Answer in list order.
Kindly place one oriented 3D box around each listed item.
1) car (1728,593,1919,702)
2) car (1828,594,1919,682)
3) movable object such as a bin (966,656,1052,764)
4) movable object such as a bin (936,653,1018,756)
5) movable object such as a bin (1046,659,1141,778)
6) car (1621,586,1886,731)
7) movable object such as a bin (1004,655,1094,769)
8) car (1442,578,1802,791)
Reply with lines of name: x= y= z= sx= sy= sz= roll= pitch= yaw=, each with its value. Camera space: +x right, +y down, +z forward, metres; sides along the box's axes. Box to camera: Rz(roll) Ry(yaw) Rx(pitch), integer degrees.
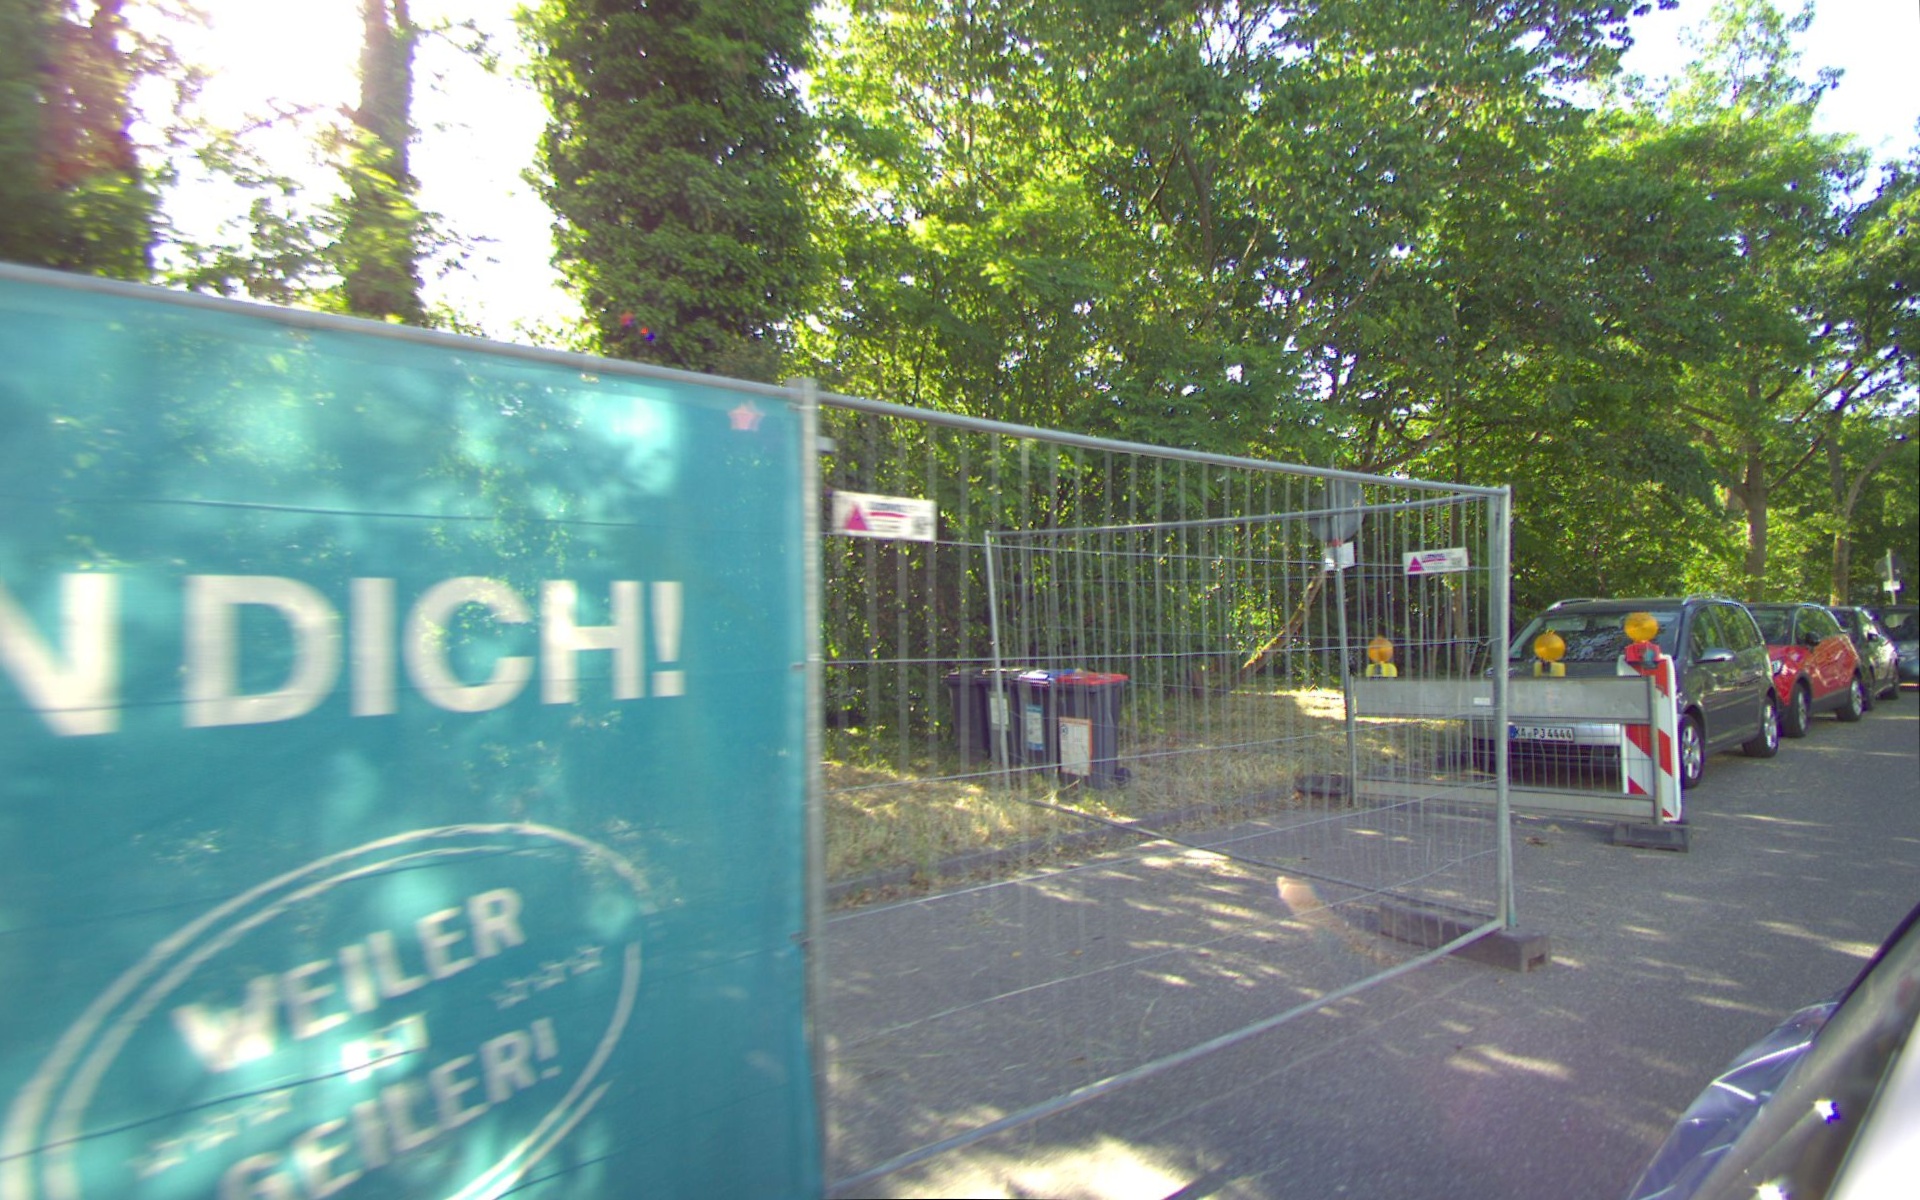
car: x=13.923 y=0.699 z=16.237 sx=4.077 sy=1.529 sz=1.714 roll=0 pitch=-2 yaw=-41
car: x=17.478 y=0.663 z=18.753 sx=2.626 sy=1.529 sz=1.498 roll=0 pitch=-2 yaw=-36
movable object such as a bin: x=0.427 y=0.937 z=8.809 sx=0.550 sy=0.872 sz=0.484 roll=0 pitch=-2 yaw=-41
movable object such as a bin: x=0.157 y=0.934 z=9.228 sx=0.550 sy=0.872 sz=0.484 roll=0 pitch=-2 yaw=-41
movable object such as a bin: x=1.062 y=0.918 z=8.054 sx=0.550 sy=0.872 sz=0.484 roll=0 pitch=-2 yaw=-41
car: x=10.314 y=0.665 z=13.066 sx=3.991 sy=1.594 sz=1.683 roll=0 pitch=-2 yaw=-37
movable object such as a bin: x=0.743 y=0.912 z=8.428 sx=0.550 sy=0.872 sz=0.484 roll=0 pitch=-2 yaw=-41
car: x=6.483 y=0.672 z=9.751 sx=4.063 sy=1.643 sz=1.682 roll=0 pitch=-2 yaw=-39
